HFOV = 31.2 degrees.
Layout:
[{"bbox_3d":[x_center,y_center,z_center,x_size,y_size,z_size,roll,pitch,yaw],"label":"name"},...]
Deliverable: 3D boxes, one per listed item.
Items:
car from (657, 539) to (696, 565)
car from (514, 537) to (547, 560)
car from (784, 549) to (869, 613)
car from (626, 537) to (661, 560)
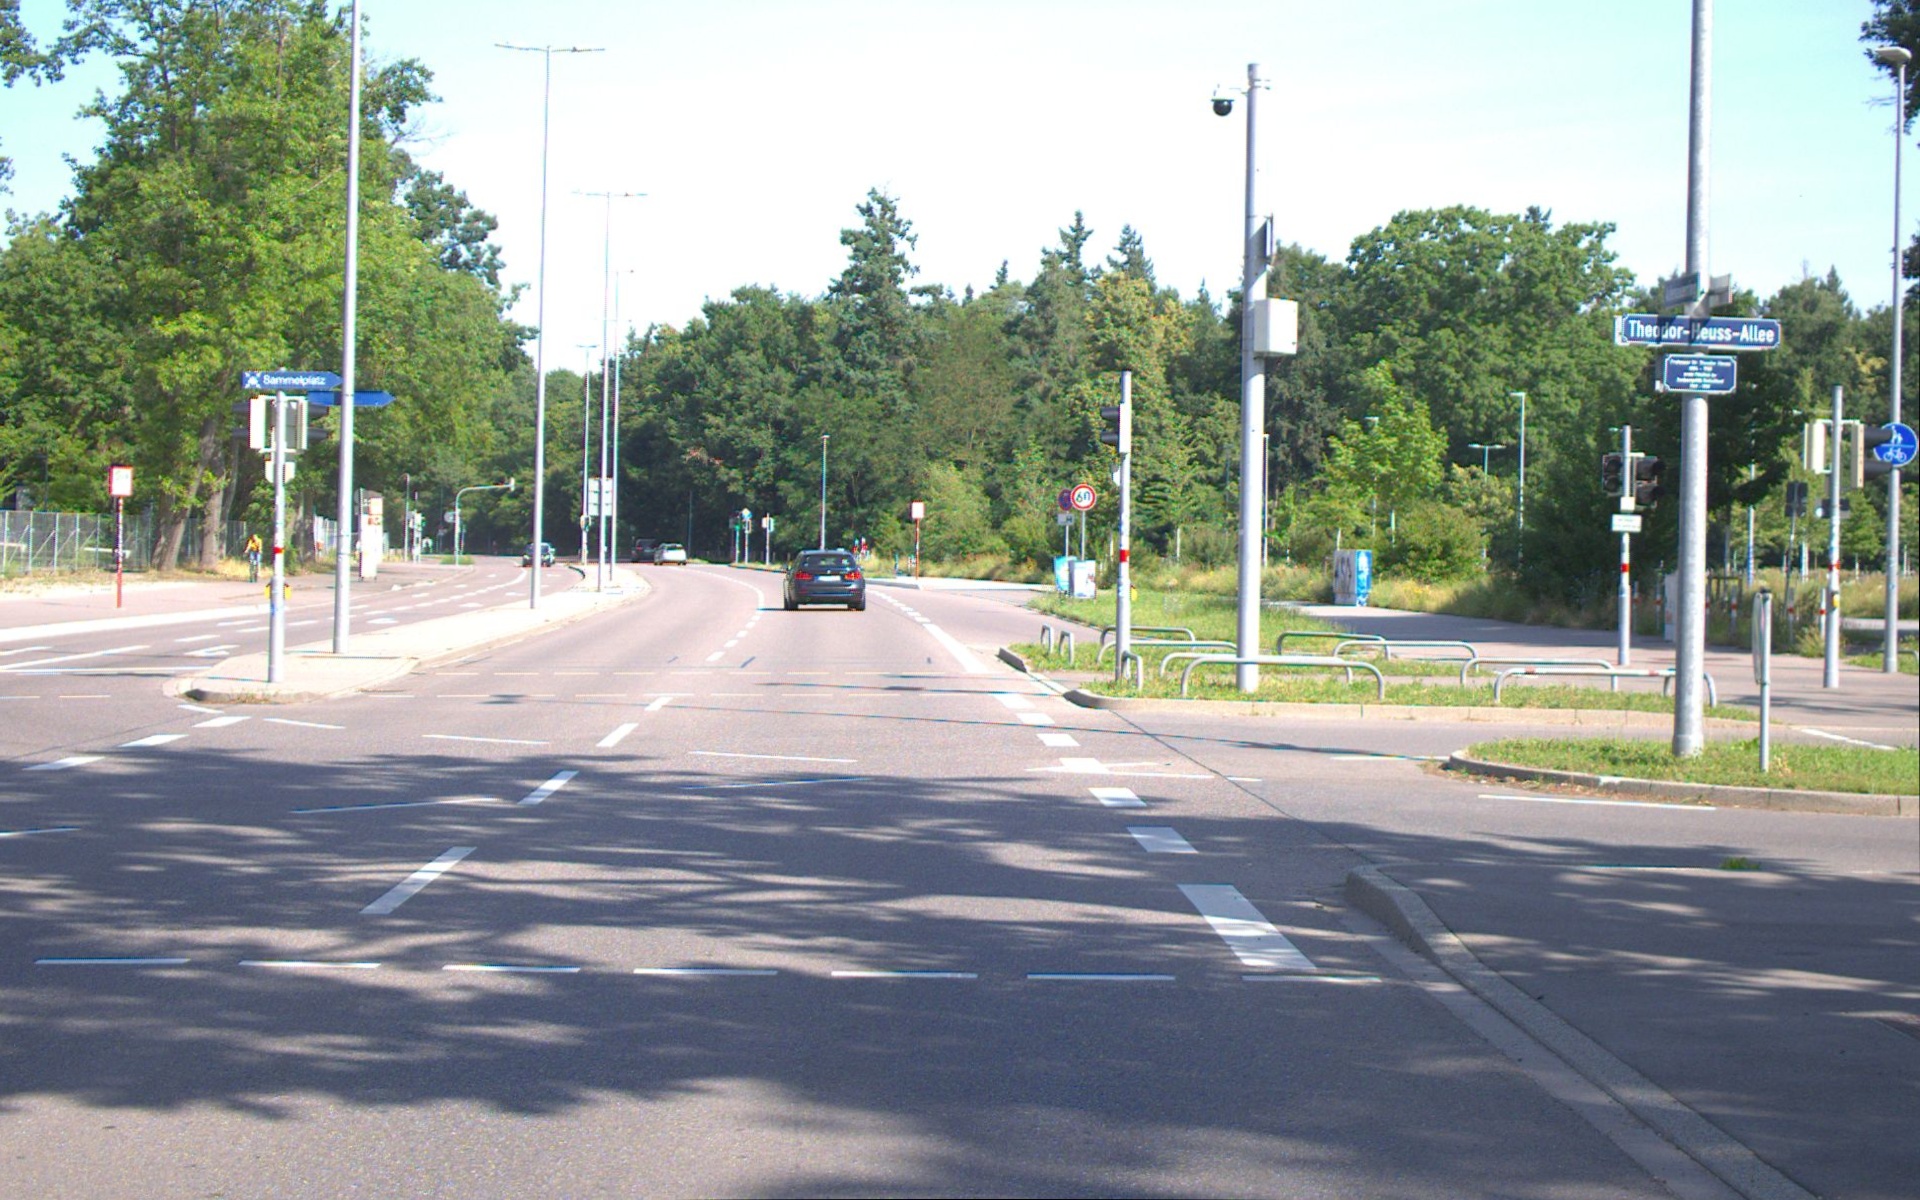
[{"bbox_3d":[-19.227,-3.269,233.009,1.993,1.744,4.001,1,1,-13],"label":"car"},{"bbox_3d":[-27.544,-3.309,220.588,1.810,1.383,4.163,-1,1,-11],"label":"car"},{"bbox_3d":[-3.190,-0.479,81.451,1.940,1.415,4.293,1,1,-3],"label":"car"},{"bbox_3d":[-23.332,-3.812,253.150,1.993,1.590,4.001,1,1,-13],"label":"car"}]
